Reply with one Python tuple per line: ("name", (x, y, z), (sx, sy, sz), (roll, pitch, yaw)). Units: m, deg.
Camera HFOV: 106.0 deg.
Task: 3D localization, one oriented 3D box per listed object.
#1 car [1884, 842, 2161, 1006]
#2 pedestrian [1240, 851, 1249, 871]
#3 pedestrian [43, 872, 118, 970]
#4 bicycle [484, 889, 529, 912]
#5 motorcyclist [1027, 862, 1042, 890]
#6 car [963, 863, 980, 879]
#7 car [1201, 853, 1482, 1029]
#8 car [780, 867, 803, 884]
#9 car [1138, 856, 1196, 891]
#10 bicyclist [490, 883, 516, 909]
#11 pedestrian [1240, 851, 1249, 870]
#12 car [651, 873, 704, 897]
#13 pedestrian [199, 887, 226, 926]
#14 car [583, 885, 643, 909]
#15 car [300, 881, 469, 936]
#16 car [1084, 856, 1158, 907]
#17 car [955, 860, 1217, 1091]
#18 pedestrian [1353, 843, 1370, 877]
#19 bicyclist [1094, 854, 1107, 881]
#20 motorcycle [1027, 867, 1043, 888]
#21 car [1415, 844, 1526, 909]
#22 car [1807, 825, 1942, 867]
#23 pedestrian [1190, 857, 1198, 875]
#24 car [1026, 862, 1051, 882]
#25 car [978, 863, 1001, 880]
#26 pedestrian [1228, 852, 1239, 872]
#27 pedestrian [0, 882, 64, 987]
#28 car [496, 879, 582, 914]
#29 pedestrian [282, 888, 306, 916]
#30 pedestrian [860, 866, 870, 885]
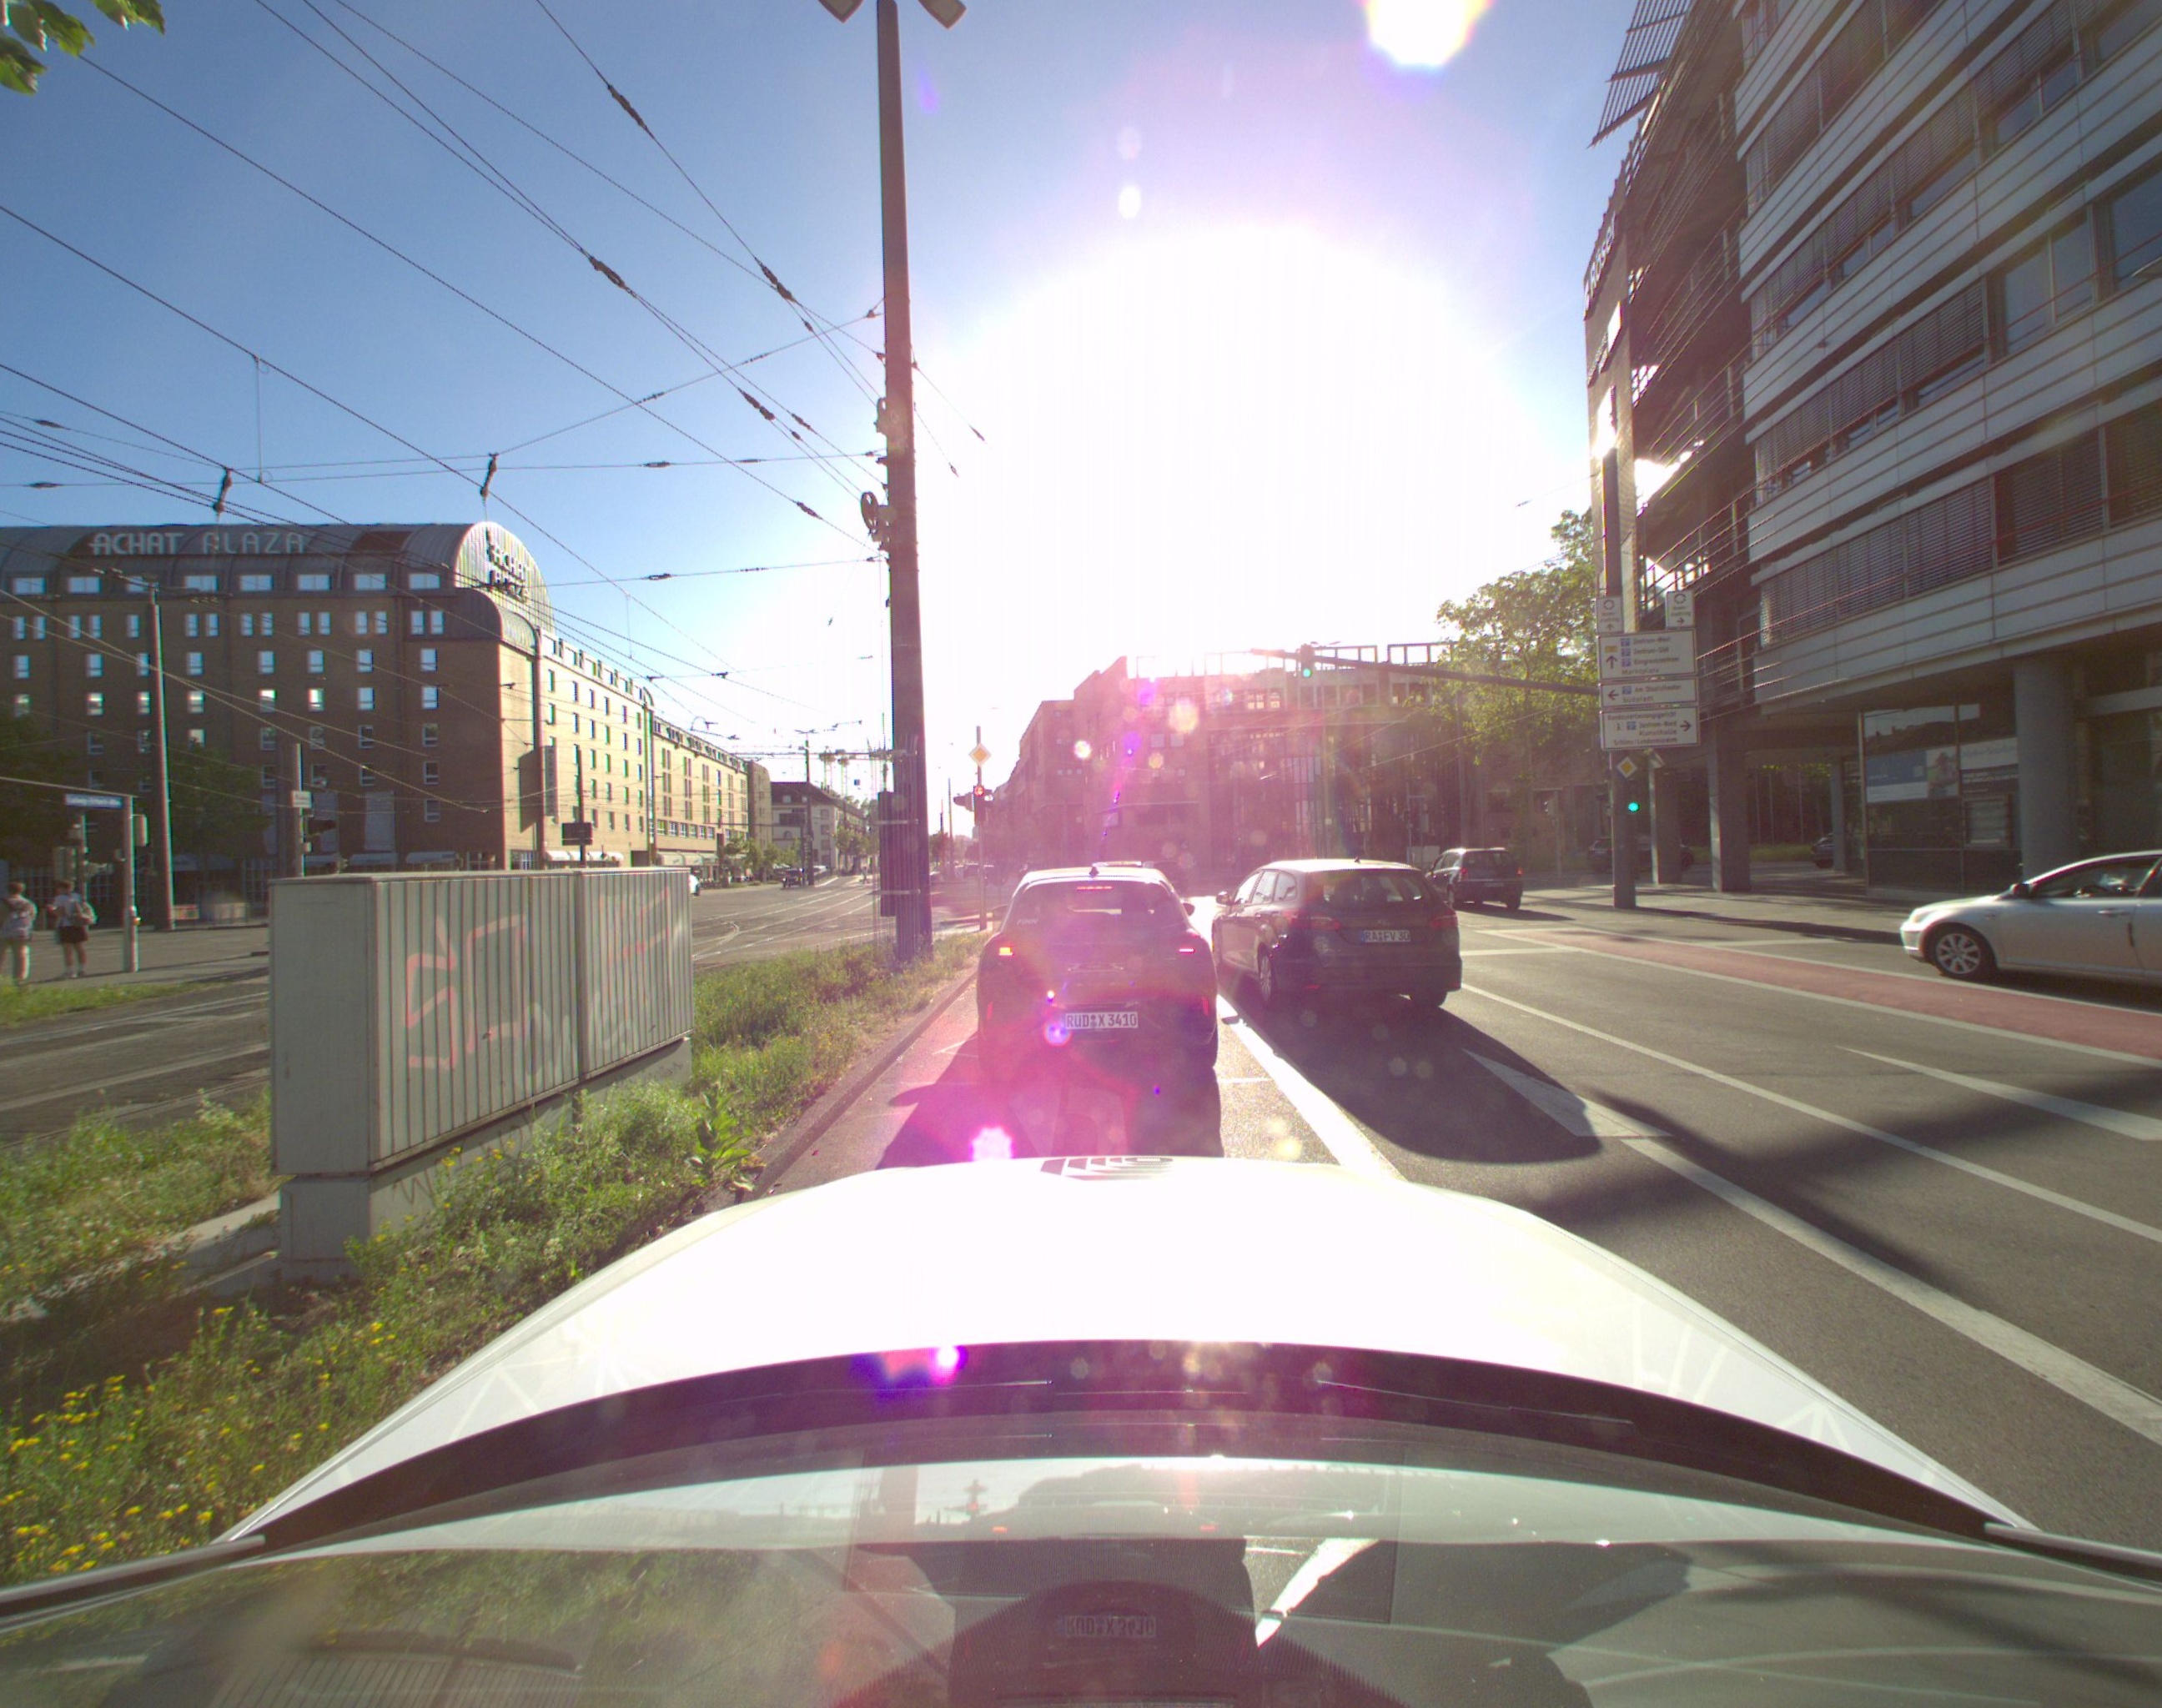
("car", (10.513, 0.619, 7.538), (1.745, 1.431, 4.489), (-2, 0, 1))
("pedestrian", (13.790, 0.581, 68.754), (0.733, 1.617, 0.562), (-2, 0, 10))
("pedestrian", (-19.268, 1.276, 15.696), (0.562, 1.817, 0.662), (-2, 0, -5))
("bicycle", (-31.432, 2.509, 44.604), (0.649, 1.085, 2.920), (-2, 0, -6))
("motorcyclist", (-2.655, 1.227, 46.341), (0.744, 1.530, 1.018), (-2, 0, -8))
("car", (-12.103, 1.900, 89.758), (1.737, 1.651, 3.987), (-2, 0, -9))
("car", (2.566, 0.746, 9.123), (1.681, 1.433, 4.150), (-2, 0, -2))
("car", (-28.178, 2.055, 79.353), (1.748, 1.505, 3.860), (-2, 0, -15))
("car", (3.720, 0.818, 35.886), (1.804, 1.457, 3.994), (-1, 0, -4))
("bicyclist", (-31.482, 2.286, 44.394), (0.756, 1.375, 0.949), (-2, 0, -6))
("pedestrian", (13.969, 0.580, 69.645), (0.733, 1.617, 0.562), (-2, 0, 10))
("car", (-26.672, 2.030, 53.948), (1.569, 1.449, 3.996), (-2, 0, -3))
("pedestrian", (-46.116, 2.774, 43.242), (0.663, 2.013, 0.678), (-2, 0, 3))
("car", (-34.739, 3.155, 60.576), (1.745, 1.550, 4.007), (-2, 0, 6))
("car", (-23.322, 1.776, 27.566), (1.991, 1.596, 4.728), (-2, -1, -6))
("car", (1.189, 0.823, 26.028), (1.808, 1.492, 4.488), (0, -1, -4))
("car", (0.136, 0.800, 7.247), (1.642, 1.433, 4.003), (-2, 0, 3))
("pedestrian", (14.495, 0.310, 42.122), (0.700, 1.759, 0.564), (-2, -1, 27))
("bicyclist", (1.374, 0.929, 56.501), (0.579, 1.791, 0.858), (-2, 0, -20))
("motorcycle", (-2.635, 1.304, 46.274), (0.774, 1.115, 1.964), (-2, 0, -7))
("car", (10.900, 0.585, 23.125), (1.677, 1.629, 4.475), (-2, 0, 10))
("car", (32.676, -0.318, 33.594), (3.981, 1.651, 1.861), (-1, 0, -6))
("pedestrian", (9.134, 0.958, 66.036), (0.527, 1.430, 0.598), (-2, 0, 1))
("car", (-3.477, 1.416, 65.684), (1.805, 1.457, 3.991), (-1, 0, -6))
("car", (-7.963, 1.489, 70.742), (1.737, 1.349, 3.986), (-2, 0, -10))
("pedestrian", (12.719, 0.632, 67.923), (0.894, 1.617, 0.562), (-2, 0, 10))
("pedestrian", (-19.195, 1.440, 14.763), (0.630, 1.830, 0.662), (-2, 0, -5))
("car", (-27.551, 2.126, 41.545), (1.719, 1.422, 4.139), (-4, 0, -4))
("pedestrian", (-43.571, 2.642, 45.094), (0.674, 1.503, 0.659), (-2, 0, -1))
("pedestrian", (-19.851, 1.962, 74.762), (0.765, 1.640, 0.742), (-2, 0, -8))
